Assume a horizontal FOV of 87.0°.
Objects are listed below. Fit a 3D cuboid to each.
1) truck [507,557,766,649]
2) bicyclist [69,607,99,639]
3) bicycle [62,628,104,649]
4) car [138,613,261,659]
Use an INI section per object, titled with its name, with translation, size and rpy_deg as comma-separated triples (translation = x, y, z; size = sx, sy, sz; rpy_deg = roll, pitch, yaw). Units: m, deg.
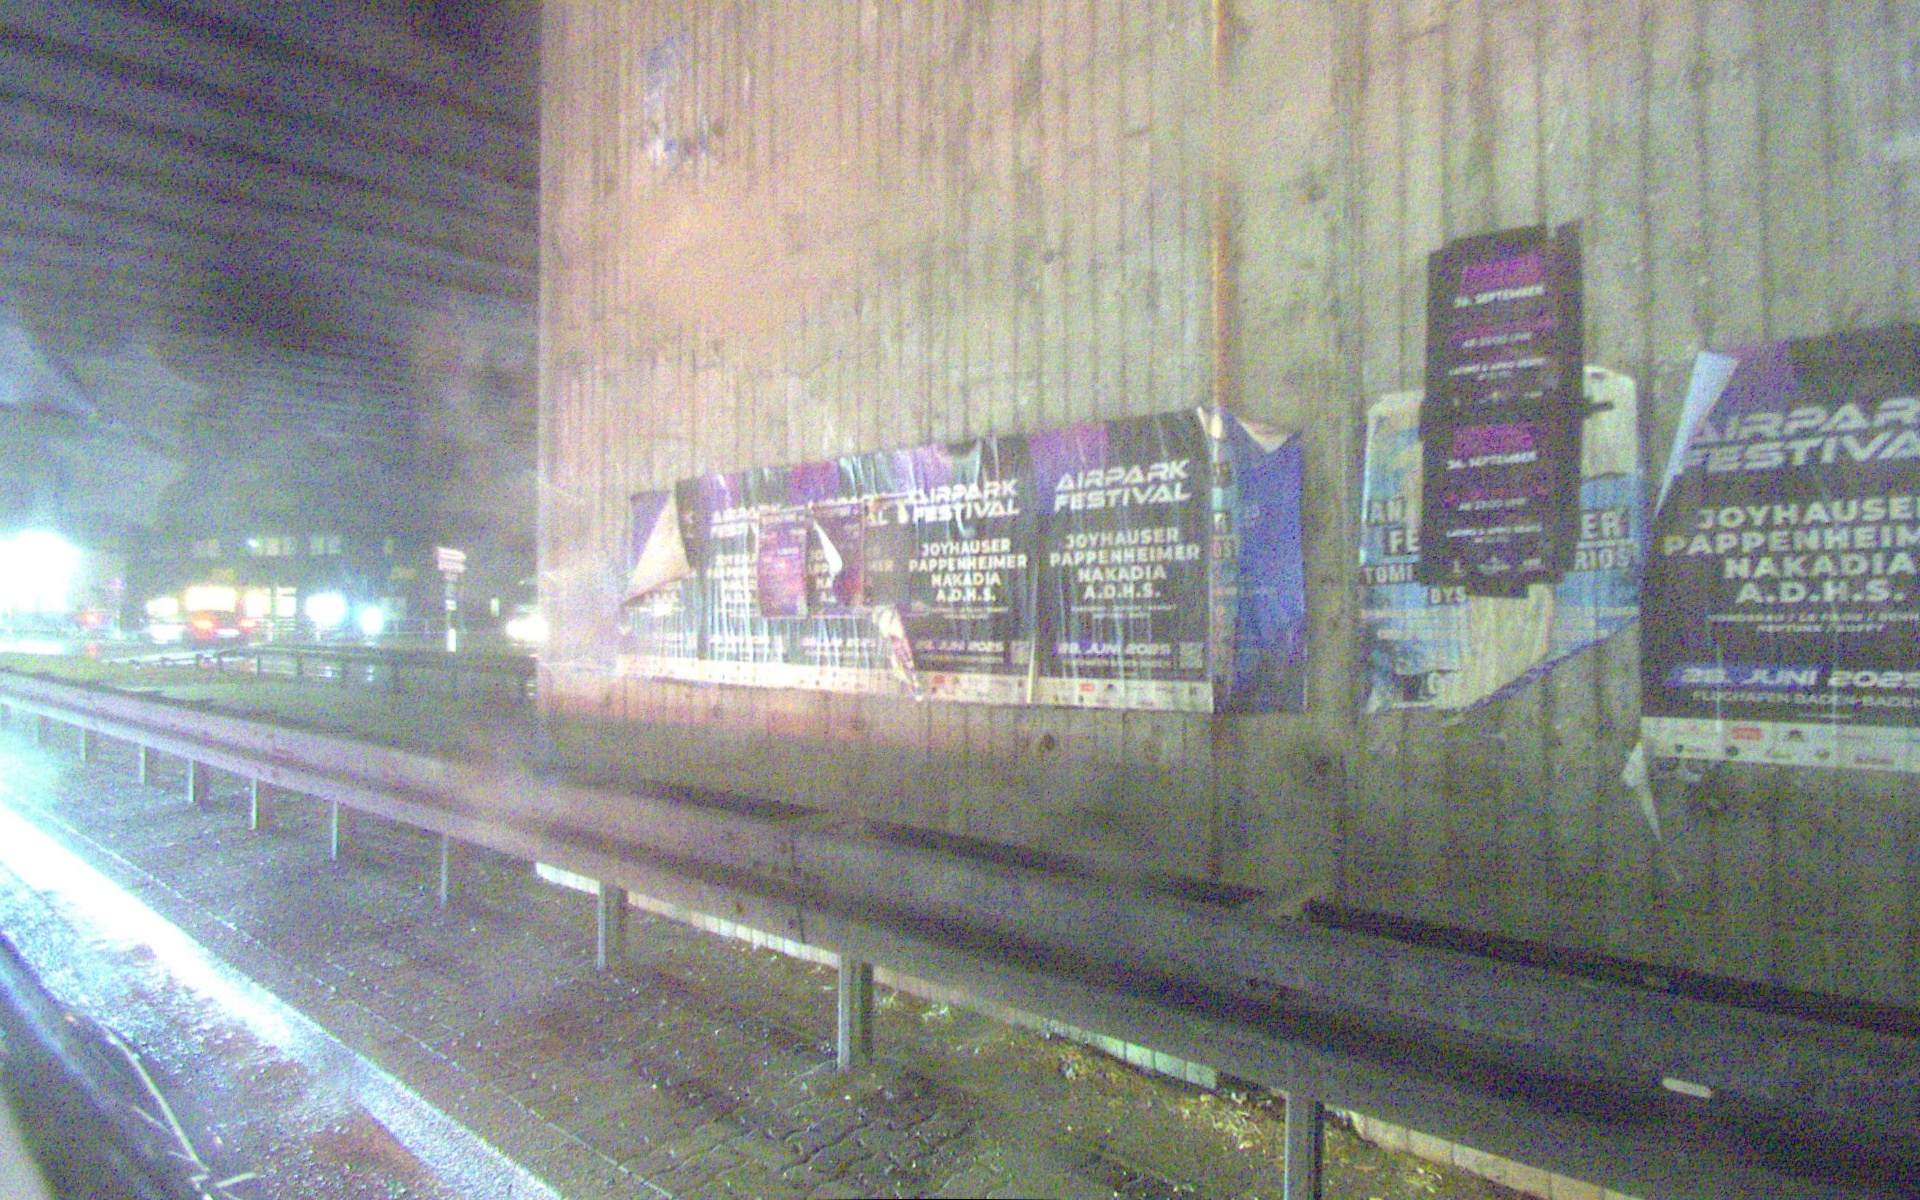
[truck]
translation = -17.091, 0.169, 54.848
size = 13.480, 4.474, 2.746
rpy_deg = 0, -1, -43
[bicyclist]
translation = -40.522, 1.068, 46.819
size = 1.182, 1.446, 0.624
rpy_deg = 0, -2, 26
[bicycle]
translation = -40.574, 1.781, 46.824
size = 2.201, 0.912, 0.623
rpy_deg = 0, -2, 26
[car]
translation = -26.301, 1.224, 34.975
size = 4.486, 1.498, 2.018
rpy_deg = 0, -2, 34
